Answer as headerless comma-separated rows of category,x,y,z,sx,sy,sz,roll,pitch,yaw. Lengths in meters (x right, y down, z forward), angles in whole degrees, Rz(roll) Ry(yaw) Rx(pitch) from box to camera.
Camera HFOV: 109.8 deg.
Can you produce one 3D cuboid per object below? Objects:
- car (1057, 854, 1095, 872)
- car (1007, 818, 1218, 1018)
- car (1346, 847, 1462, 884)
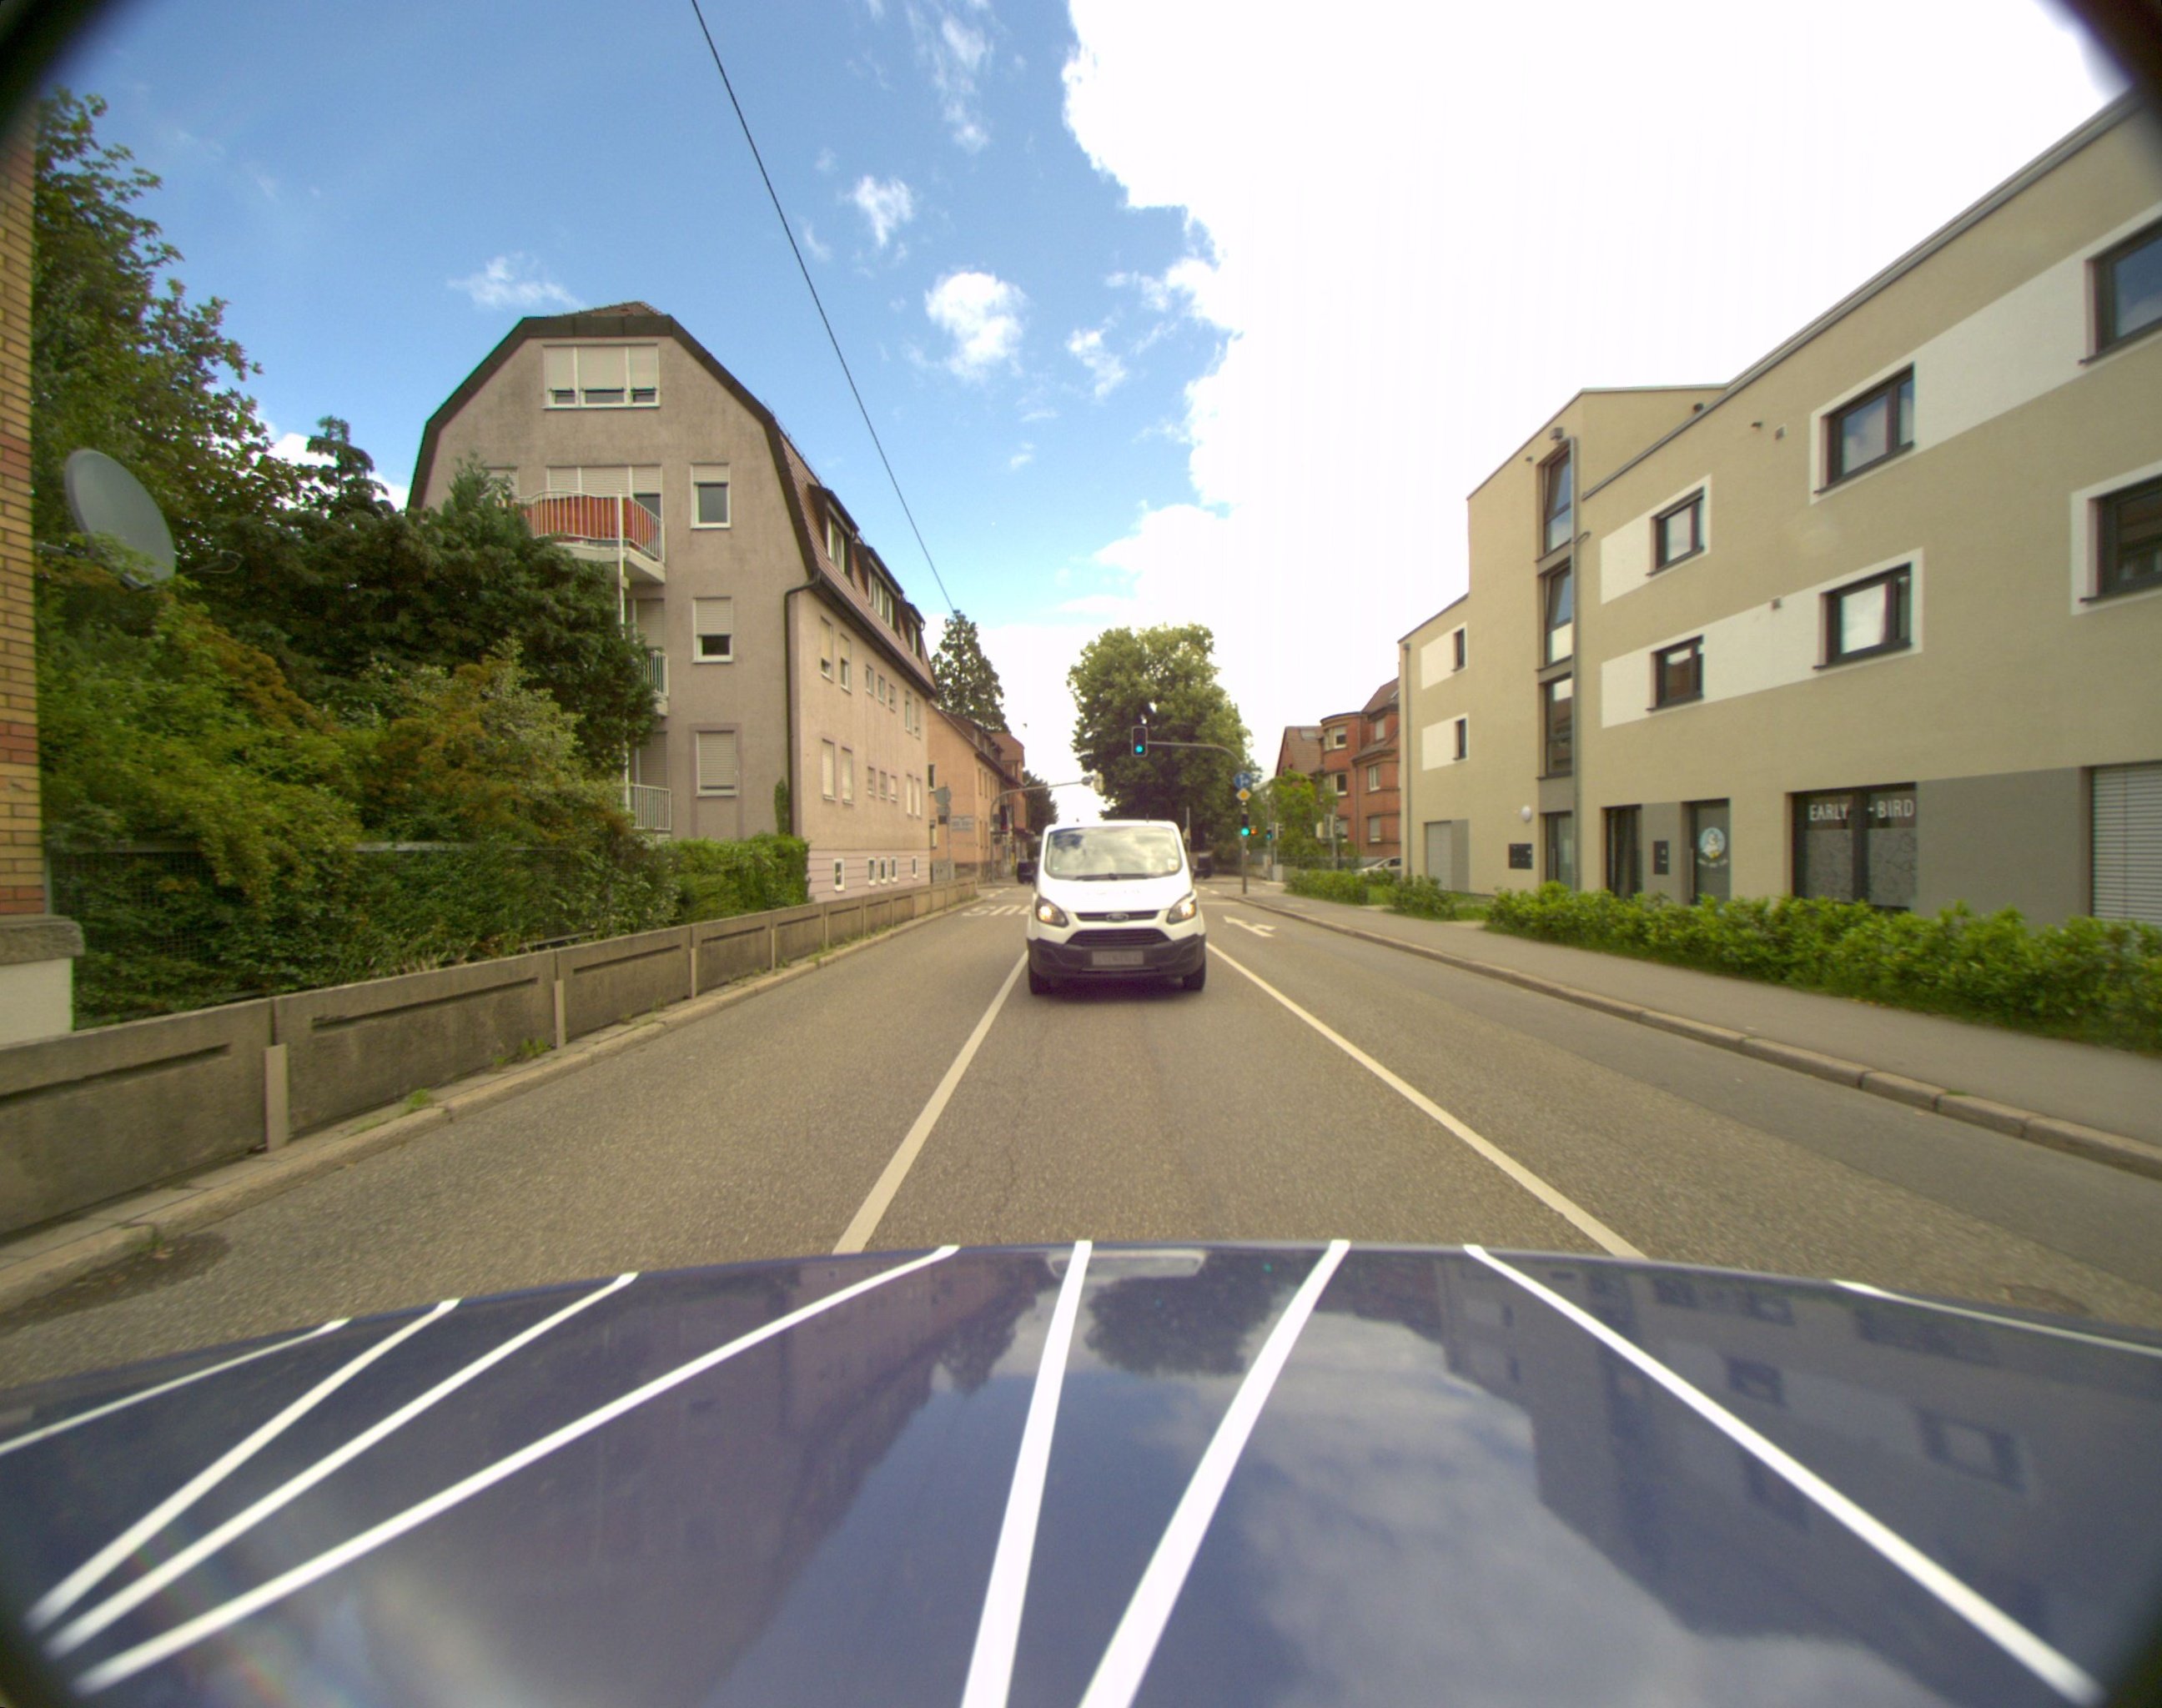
car,-0.491,0.902,79.674,1.834,1.674,4.007,-2,1,36
car,0.322,0.622,10.049,2.062,1.945,5.060,-1,0,0
car,15.949,0.525,37.628,4.813,1.675,2.175,-1,0,-4
